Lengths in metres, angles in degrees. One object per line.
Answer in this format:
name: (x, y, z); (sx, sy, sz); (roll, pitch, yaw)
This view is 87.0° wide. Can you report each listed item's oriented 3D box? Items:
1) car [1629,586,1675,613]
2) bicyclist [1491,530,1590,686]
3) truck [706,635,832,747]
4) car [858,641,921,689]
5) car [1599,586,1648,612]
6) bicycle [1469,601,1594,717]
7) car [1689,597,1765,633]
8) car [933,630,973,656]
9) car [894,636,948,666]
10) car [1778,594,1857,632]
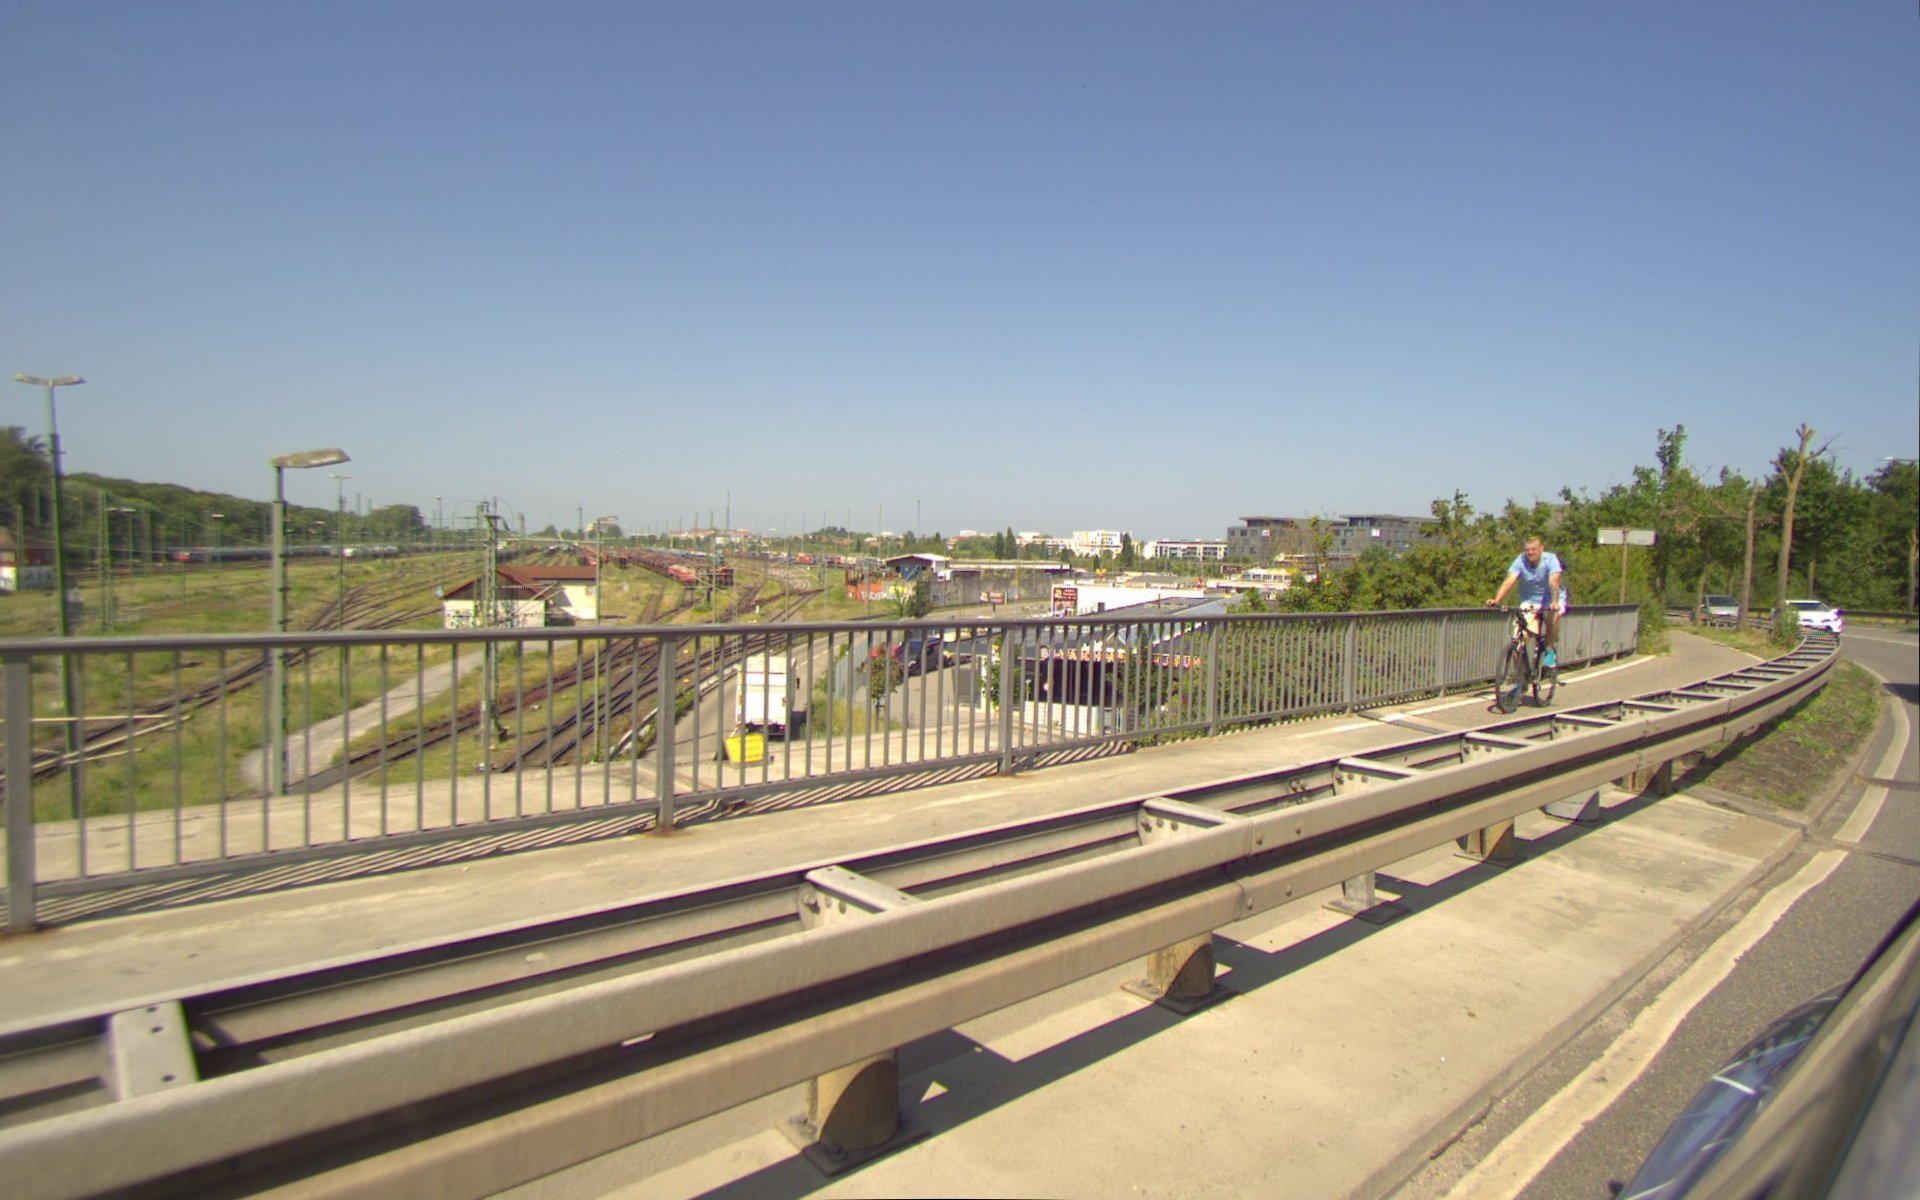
car: (53.243, -0.064, 77.960); (1.912, 1.550, 4.097); (-2, 7, 20)
bicyclist: (6.071, 0.061, 10.579); (0.658, 1.538, 0.791); (5, 4, 42)
truck: (-9.766, 4.485, 53.955); (3.752, 4.078, 13.271); (3, 2, 1)
car: (-4.906, 4.533, 71.345); (2.279, 2.696, 5.347); (-4, 1, 19)
car: (48.263, -0.103, 73.704); (1.973, 1.789, 3.978); (-1, 1, 18)
bicycle: (5.987, 0.564, 10.551); (0.702, 1.032, 1.818); (6, 5, 41)
car: (40.702, 0.786, 53.812); (1.974, 1.604, 3.976); (-5, 0, 19)
car: (-0.559, 3.514, 83.276); (1.974, 1.895, 3.975); (-4, -1, 19)
car: (-2.929, 3.857, 77.303); (2.278, 1.695, 5.347); (-4, 1, 19)
car: (35.574, 0.495, 42.095); (1.832, 1.507, 4.106); (0, 1, 31)
